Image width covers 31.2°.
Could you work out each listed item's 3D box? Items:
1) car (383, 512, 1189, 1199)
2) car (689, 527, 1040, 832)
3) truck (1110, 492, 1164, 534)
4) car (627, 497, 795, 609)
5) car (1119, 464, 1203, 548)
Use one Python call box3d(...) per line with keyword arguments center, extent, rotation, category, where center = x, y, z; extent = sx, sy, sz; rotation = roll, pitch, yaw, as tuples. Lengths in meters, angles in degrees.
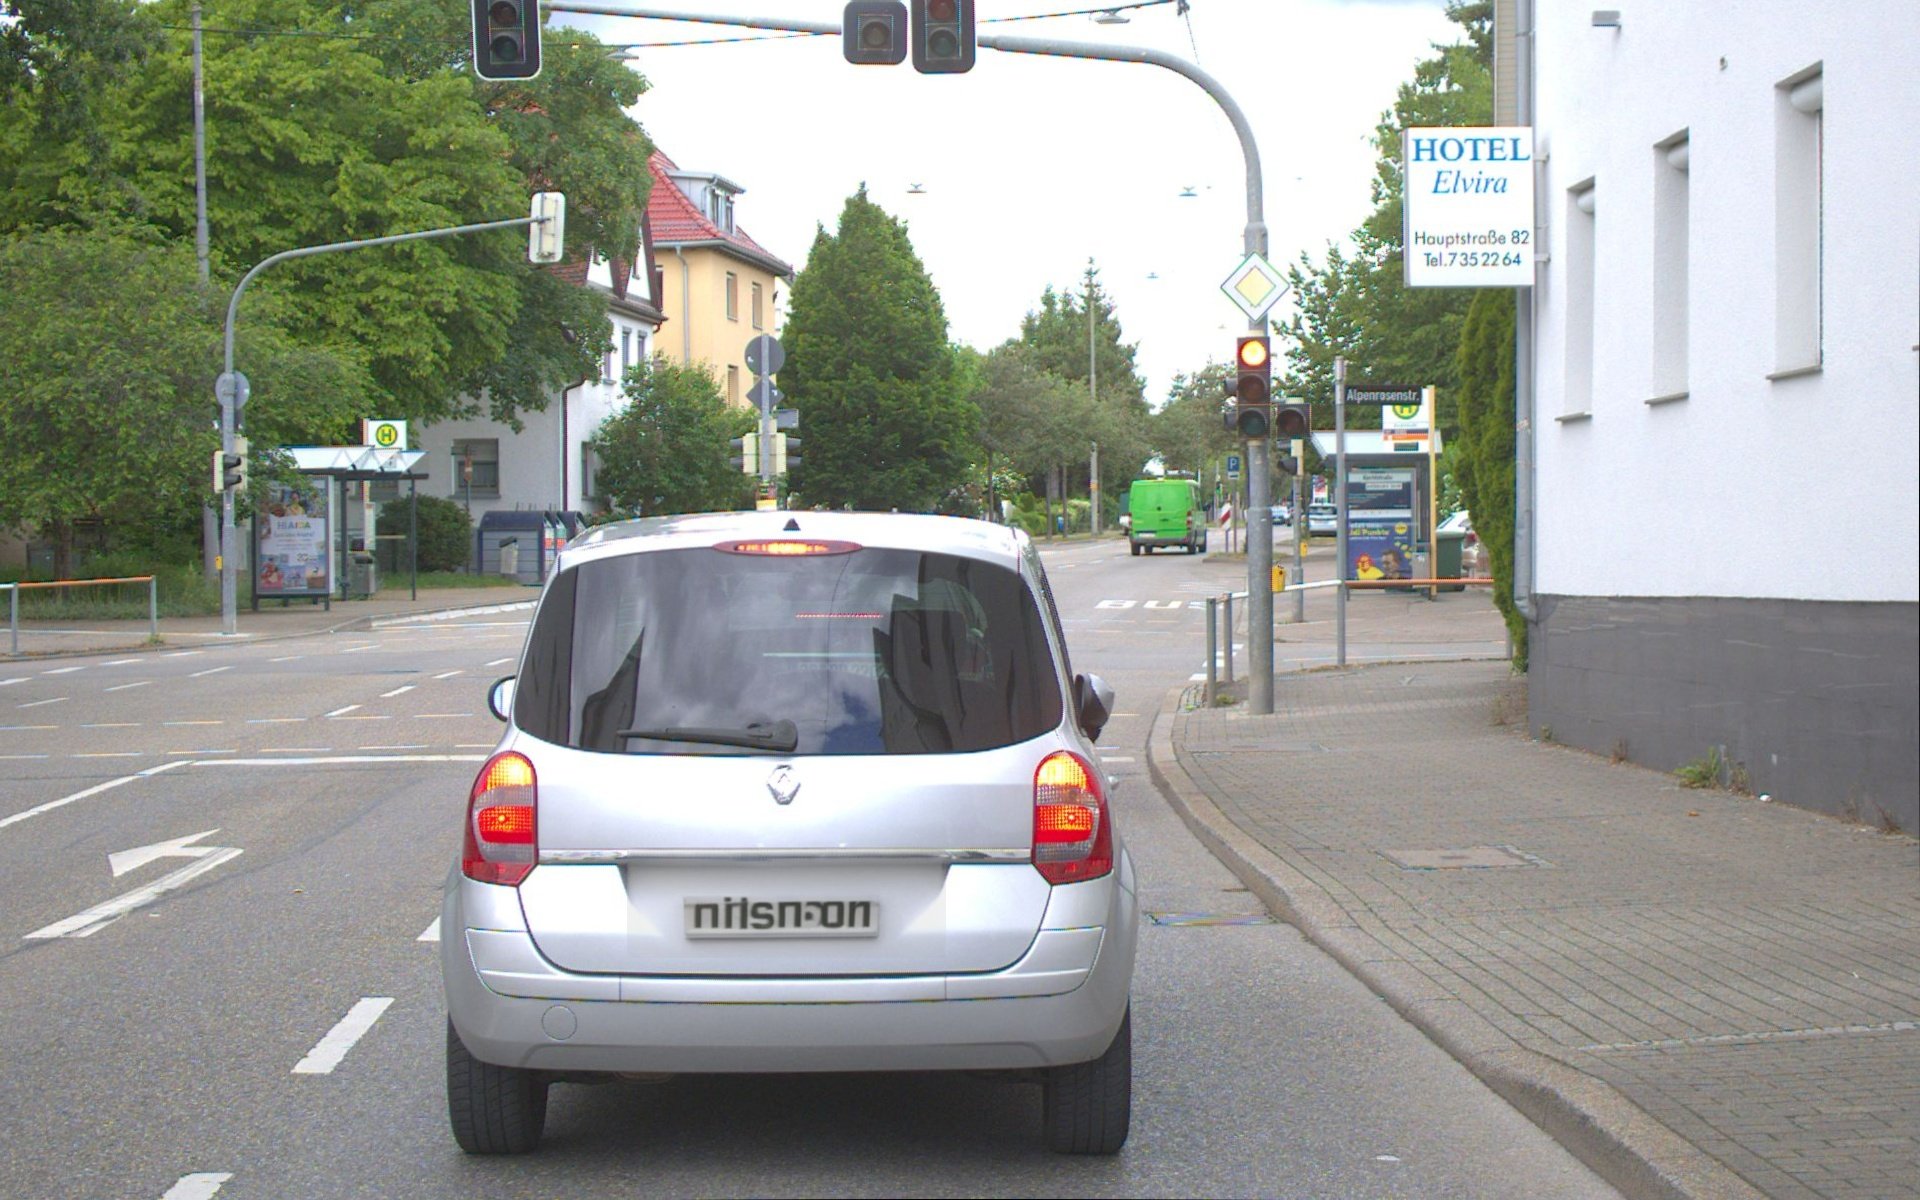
box3d(center=(-0.432, 0.550, 9.564), extent=(1.755, 1.525, 4.000), rotation=(1, 1, -1), category="car")
box3d(center=(-0.531, 0.376, 19.274), extent=(1.755, 1.525, 3.797), rotation=(1, 1, -1), category="car")
box3d(center=(8.894, -4.361, 172.233), extent=(2.102, 2.007, 5.746), rotation=(1, 1, 9), category="truck")
box3d(center=(-4.283, -0.832, 59.806), extent=(1.927, 1.767, 3.999), rotation=(-4, 1, 9), category="car")
box3d(center=(6.250, -2.876, 106.342), extent=(2.060, 2.503, 5.593), rotation=(1, 1, 8), category="car")
